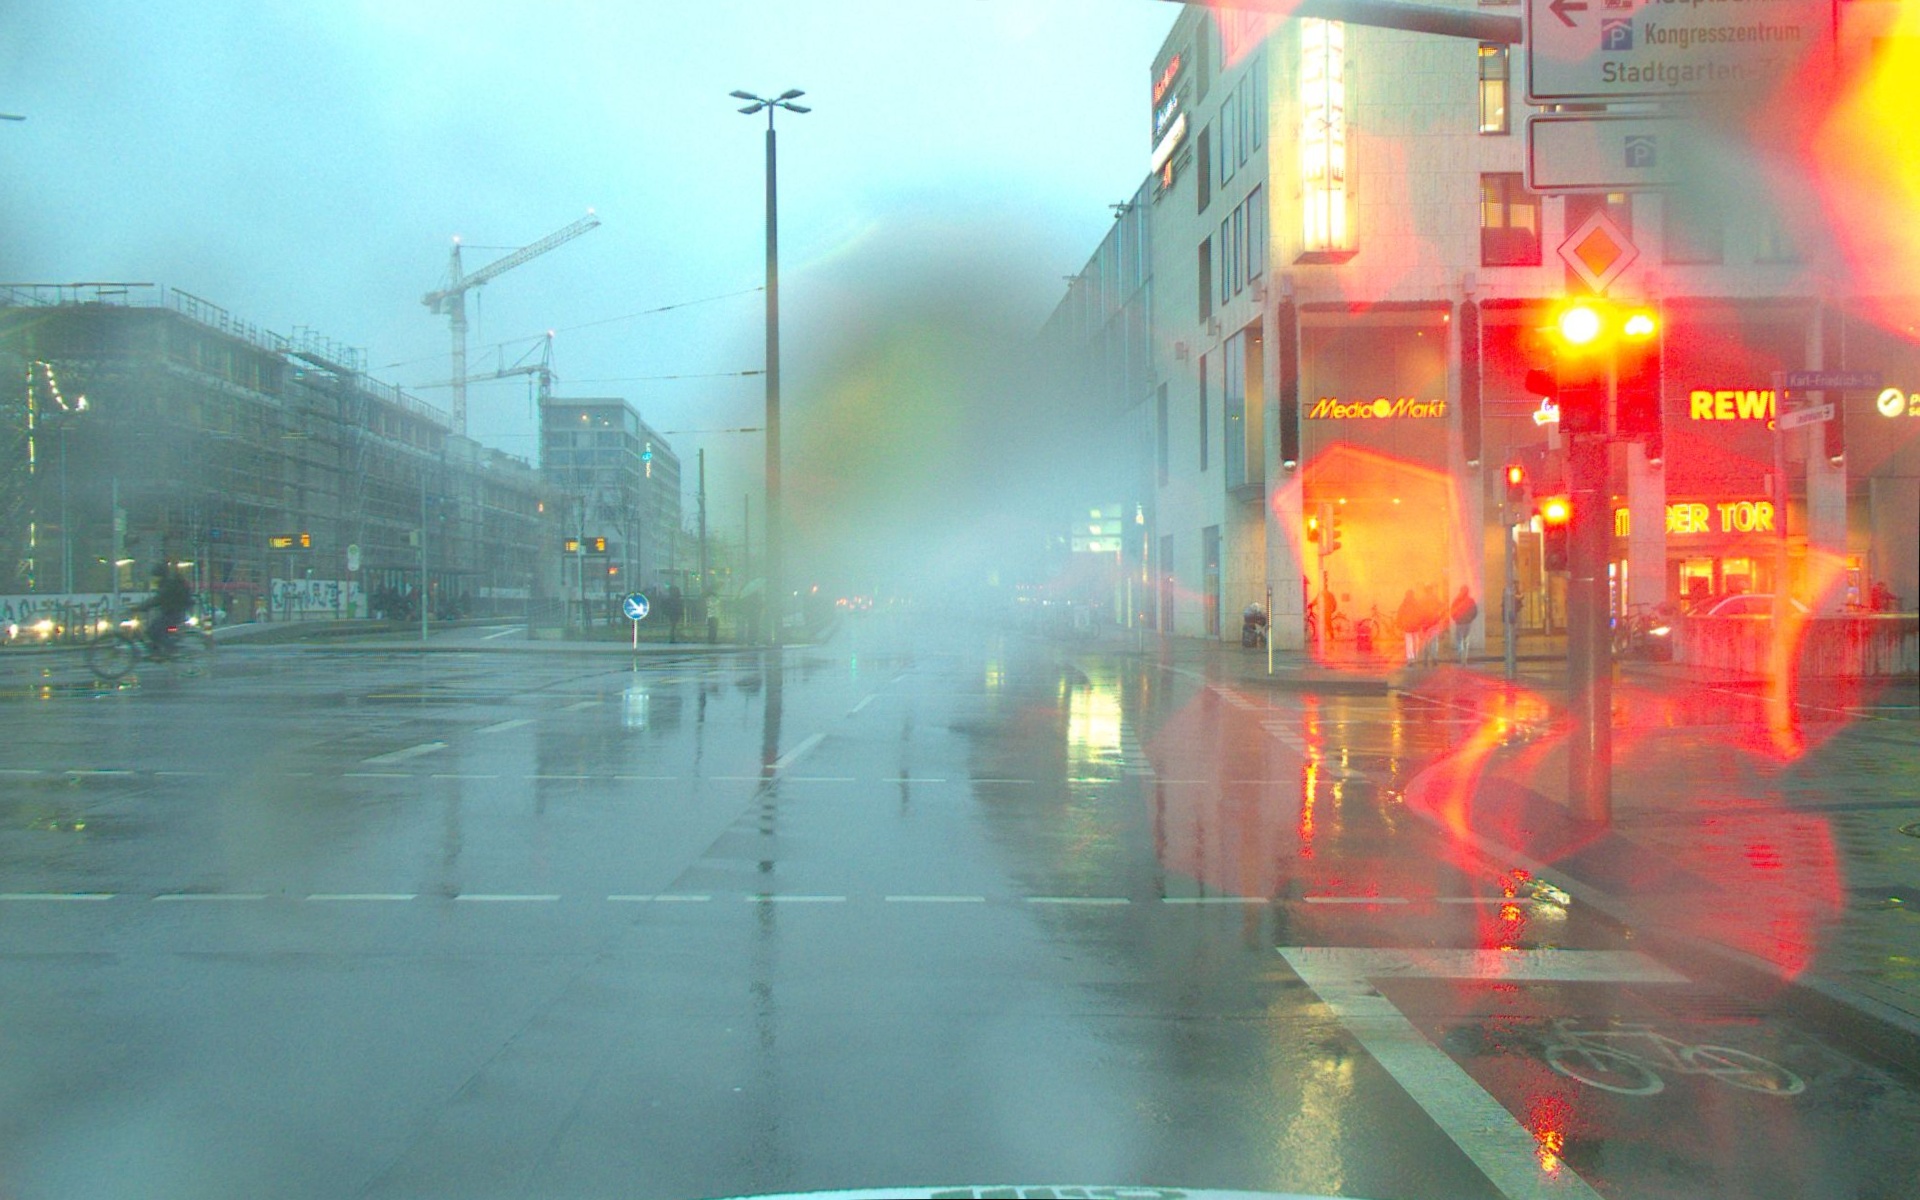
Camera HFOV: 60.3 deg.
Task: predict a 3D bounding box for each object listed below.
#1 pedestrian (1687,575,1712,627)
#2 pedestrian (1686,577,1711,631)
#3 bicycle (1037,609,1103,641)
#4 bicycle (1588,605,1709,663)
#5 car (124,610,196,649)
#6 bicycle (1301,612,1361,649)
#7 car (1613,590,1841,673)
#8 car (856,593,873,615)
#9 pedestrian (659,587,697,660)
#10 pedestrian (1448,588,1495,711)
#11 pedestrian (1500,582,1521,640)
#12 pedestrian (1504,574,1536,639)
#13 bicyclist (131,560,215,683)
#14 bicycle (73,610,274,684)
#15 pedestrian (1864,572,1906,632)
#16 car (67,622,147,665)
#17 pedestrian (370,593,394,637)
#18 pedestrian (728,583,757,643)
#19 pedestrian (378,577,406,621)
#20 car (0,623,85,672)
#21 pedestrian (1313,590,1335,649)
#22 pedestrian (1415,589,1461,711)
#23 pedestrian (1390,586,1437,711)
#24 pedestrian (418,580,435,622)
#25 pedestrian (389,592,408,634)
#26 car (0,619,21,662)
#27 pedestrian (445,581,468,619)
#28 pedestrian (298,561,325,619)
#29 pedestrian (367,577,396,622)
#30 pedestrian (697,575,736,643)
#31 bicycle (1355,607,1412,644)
[{"bbox_3d":[25.176,0.028,56.311,0.721,1.748,0.738,-1,-1,27],"label":"pedestrian"},{"bbox_3d":[23.752,0.130,53.174,0.603,1.714,0.366,-1,0,-5],"label":"pedestrian"},{"bbox_3d":[4.102,0.934,61.685,2.393,1.174,0.674,-1,-1,-2],"label":"bicycle"},{"bbox_3d":[17.208,0.841,41.366,2.659,1.383,0.957,-1,-1,-4],"label":"bicycle"},{"bbox_3d":[-38.474,1.400,79.631,1.956,1.822,3.992,1,0,-8],"label":"car"},{"bbox_3d":[11.350,0.932,50.588,1.729,1.088,0.525,1,-1,7],"label":"bicycle"},{"bbox_3d":[16.187,0.650,35.058,3.905,1.646,2.000,1,0,0],"label":"car"},{"bbox_3d":[-9.125,0.367,157.703,1.546,2.049,3.169,-1,0,-3],"label":"car"},{"bbox_3d":[-8.062,0.659,47.256,0.771,2.049,0.724,0,-1,41],"label":"pedestrian"},{"bbox_3d":[10.513,1.000,34.032,0.679,2.491,0.791,1,-1,-1],"label":"pedestrian"},{"bbox_3d":[16.046,0.323,48.233,0.476,1.692,0.457,-1,-1,30],"label":"pedestrian"},{"bbox_3d":[17.960,0.201,53.078,0.828,2.049,0.698,-1,0,8],"label":"pedestrian"},{"bbox_3d":[-12.497,0.344,26.253,1.143,1.904,0.738,1,-1,-29],"label":"bicyclist"},{"bbox_3d":[-12.466,0.739,26.269,2.824,1.118,0.738,1,-1,-29],"label":"bicycle"},{"bbox_3d":[26.878,0.061,48.055,0.875,1.714,0.528,-1,-1,-1],"label":"pedestrian"},{"bbox_3d":[-38.159,1.926,74.083,1.956,1.822,3.992,1,0,-8],"label":"car"},{"bbox_3d":[-25.686,0.670,73.468,0.750,1.931,0.762,1,-2,-1],"label":"pedestrian"},{"bbox_3d":[-6.293,0.385,47.895,0.601,1.715,0.575,0,-1,41],"label":"pedestrian"},{"bbox_3d":[-26.822,-0.026,78.125,0.923,2.049,1.093,1,-1,-3],"label":"pedestrian"},{"bbox_3d":[-37.208,1.896,66.956,1.830,1.860,3.993,1,0,-8],"label":"car"},{"bbox_3d":[11.010,0.580,50.072,0.587,1.775,0.525,1,-1,7],"label":"pedestrian"},{"bbox_3d":[9.830,1.019,34.040,0.675,2.484,0.758,1,-1,-1],"label":"pedestrian"},{"bbox_3d":[9.157,0.974,33.406,0.700,2.484,0.758,1,-1,-1],"label":"pedestrian"},{"bbox_3d":[-25.937,0.055,80.435,0.559,2.002,0.664,2,-1,-7],"label":"pedestrian"},{"bbox_3d":[-25.902,0.608,76.328,0.684,1.913,0.553,1,-1,-2],"label":"pedestrian"},{"bbox_3d":[-36.398,1.520,60.556,2.038,1.557,4.604,-1,0,-10],"label":"car"},{"bbox_3d":[-27.727,0.013,91.027,0.923,2.049,1.093,1,-1,-3],"label":"pedestrian"},{"bbox_3d":[-26.778,-0.390,68.304,0.750,2.364,0.762,1,-2,-1],"label":"pedestrian"},{"bbox_3d":[-26.723,-0.032,76.401,0.923,2.049,1.093,1,-1,-3],"label":"pedestrian"},{"bbox_3d":[-6.817,0.255,46.325,0.813,1.863,0.777,1,-1,-31],"label":"pedestrian"},{"bbox_3d":[13.053,0.780,51.007,1.614,1.088,0.524,1,-1,-5],"label":"bicycle"}]
